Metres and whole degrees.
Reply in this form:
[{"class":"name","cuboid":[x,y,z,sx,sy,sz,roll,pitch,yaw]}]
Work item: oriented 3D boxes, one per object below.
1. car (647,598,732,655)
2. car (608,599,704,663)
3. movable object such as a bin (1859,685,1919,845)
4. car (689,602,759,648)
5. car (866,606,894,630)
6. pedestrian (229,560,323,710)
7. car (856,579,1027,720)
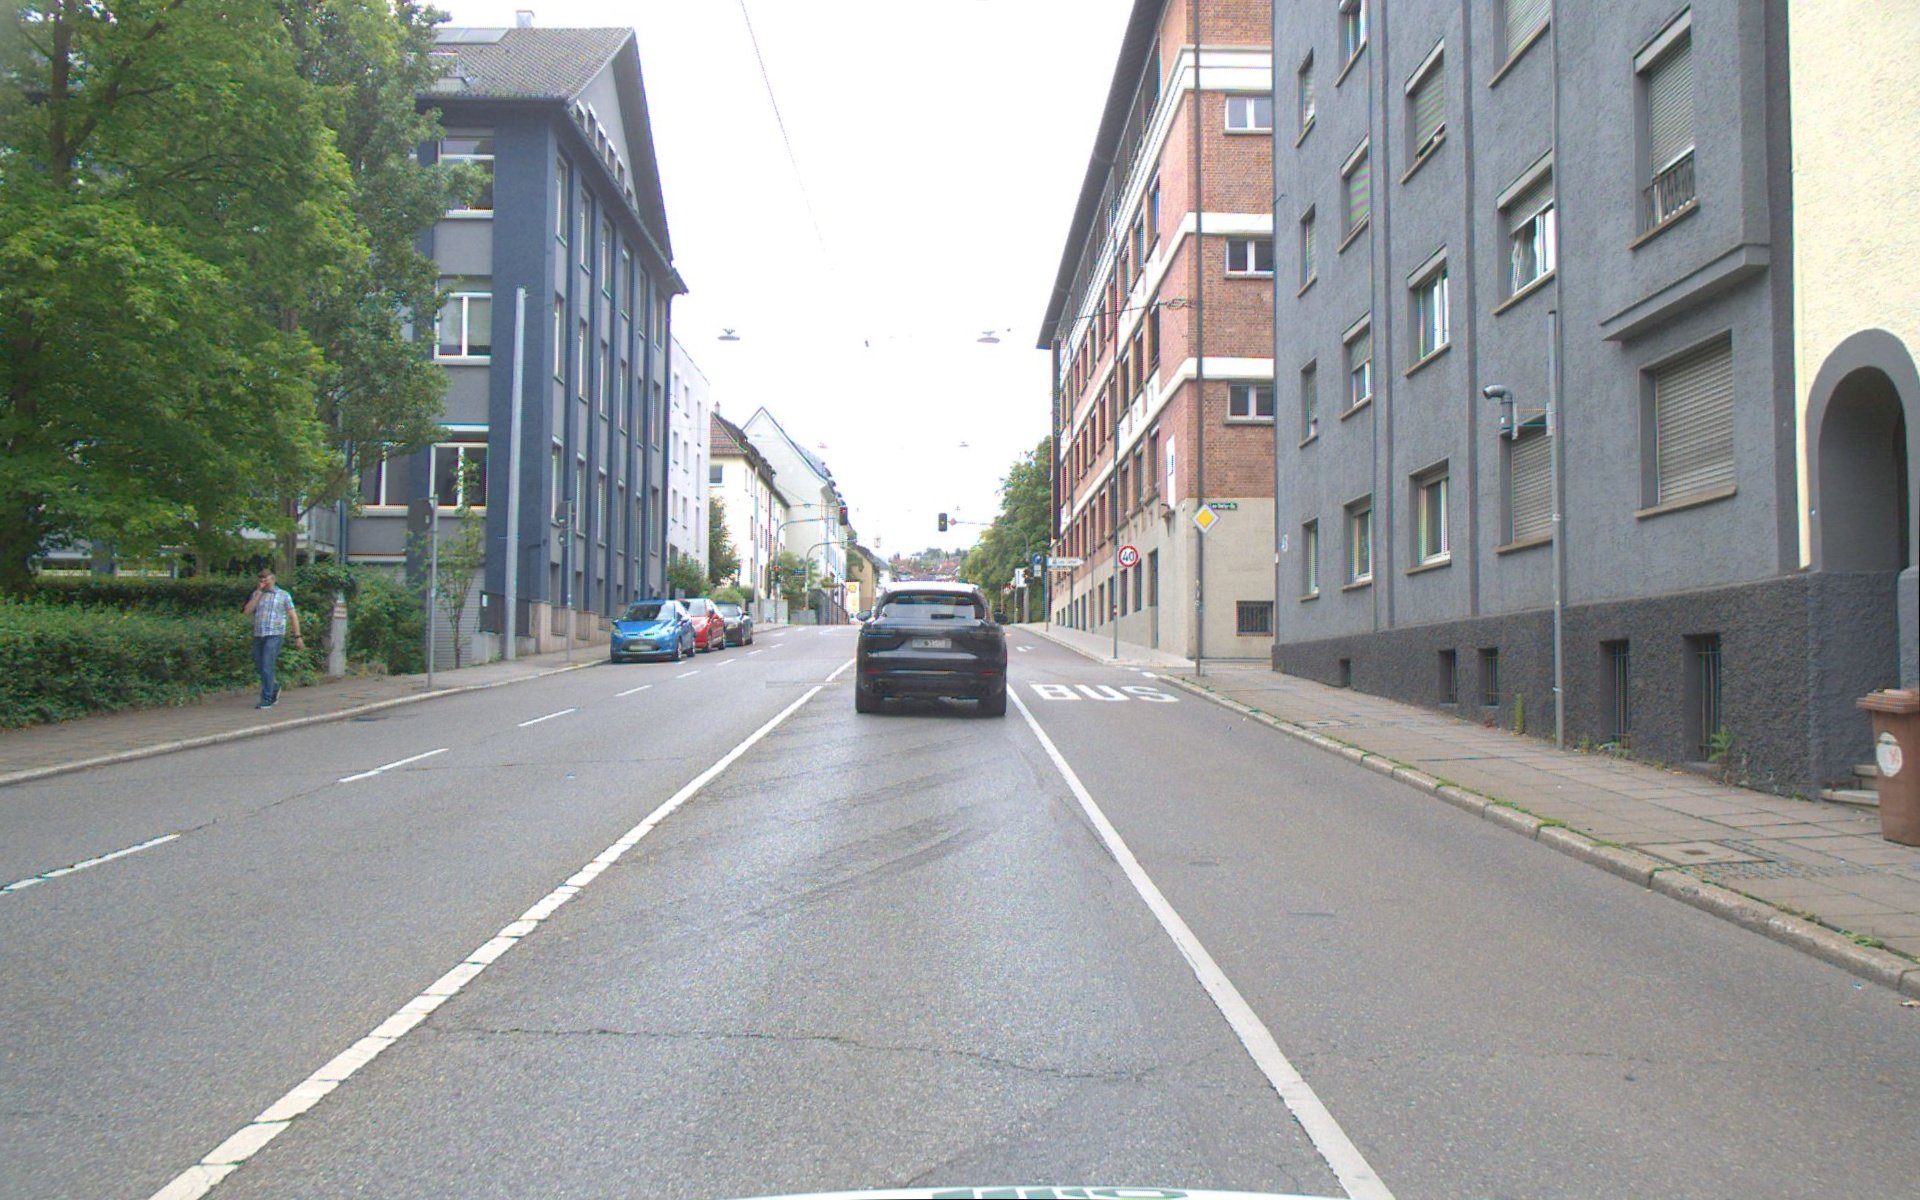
[{"class":"car","cuboid":[-7.594,0.715,46.809,1.679,1.482,3.989,-2,0,0]},{"class":"car","cuboid":[-7.523,0.739,41.225,1.679,1.448,3.988,-2,0,-1]},{"class":"movable object such as a bin","cuboid":[5.893,0.995,10.118,0.465,0.907,0.516,-2,0,-2]},{"class":"car","cuboid":[-7.484,0.776,52.754,1.679,1.364,3.903,-2,0,-1]},{"class":"car","cuboid":[-6.133,1.390,127.430,1.858,1.721,4.000,-2,0,1]},{"class":"pedestrian","cuboid":[-9.373,0.471,22.693,0.864,1.984,0.867,2,0,-1]},{"class":"car","cuboid":[-0.356,0.611,22.475,1.984,1.670,4.351,2,0,-5]}]
